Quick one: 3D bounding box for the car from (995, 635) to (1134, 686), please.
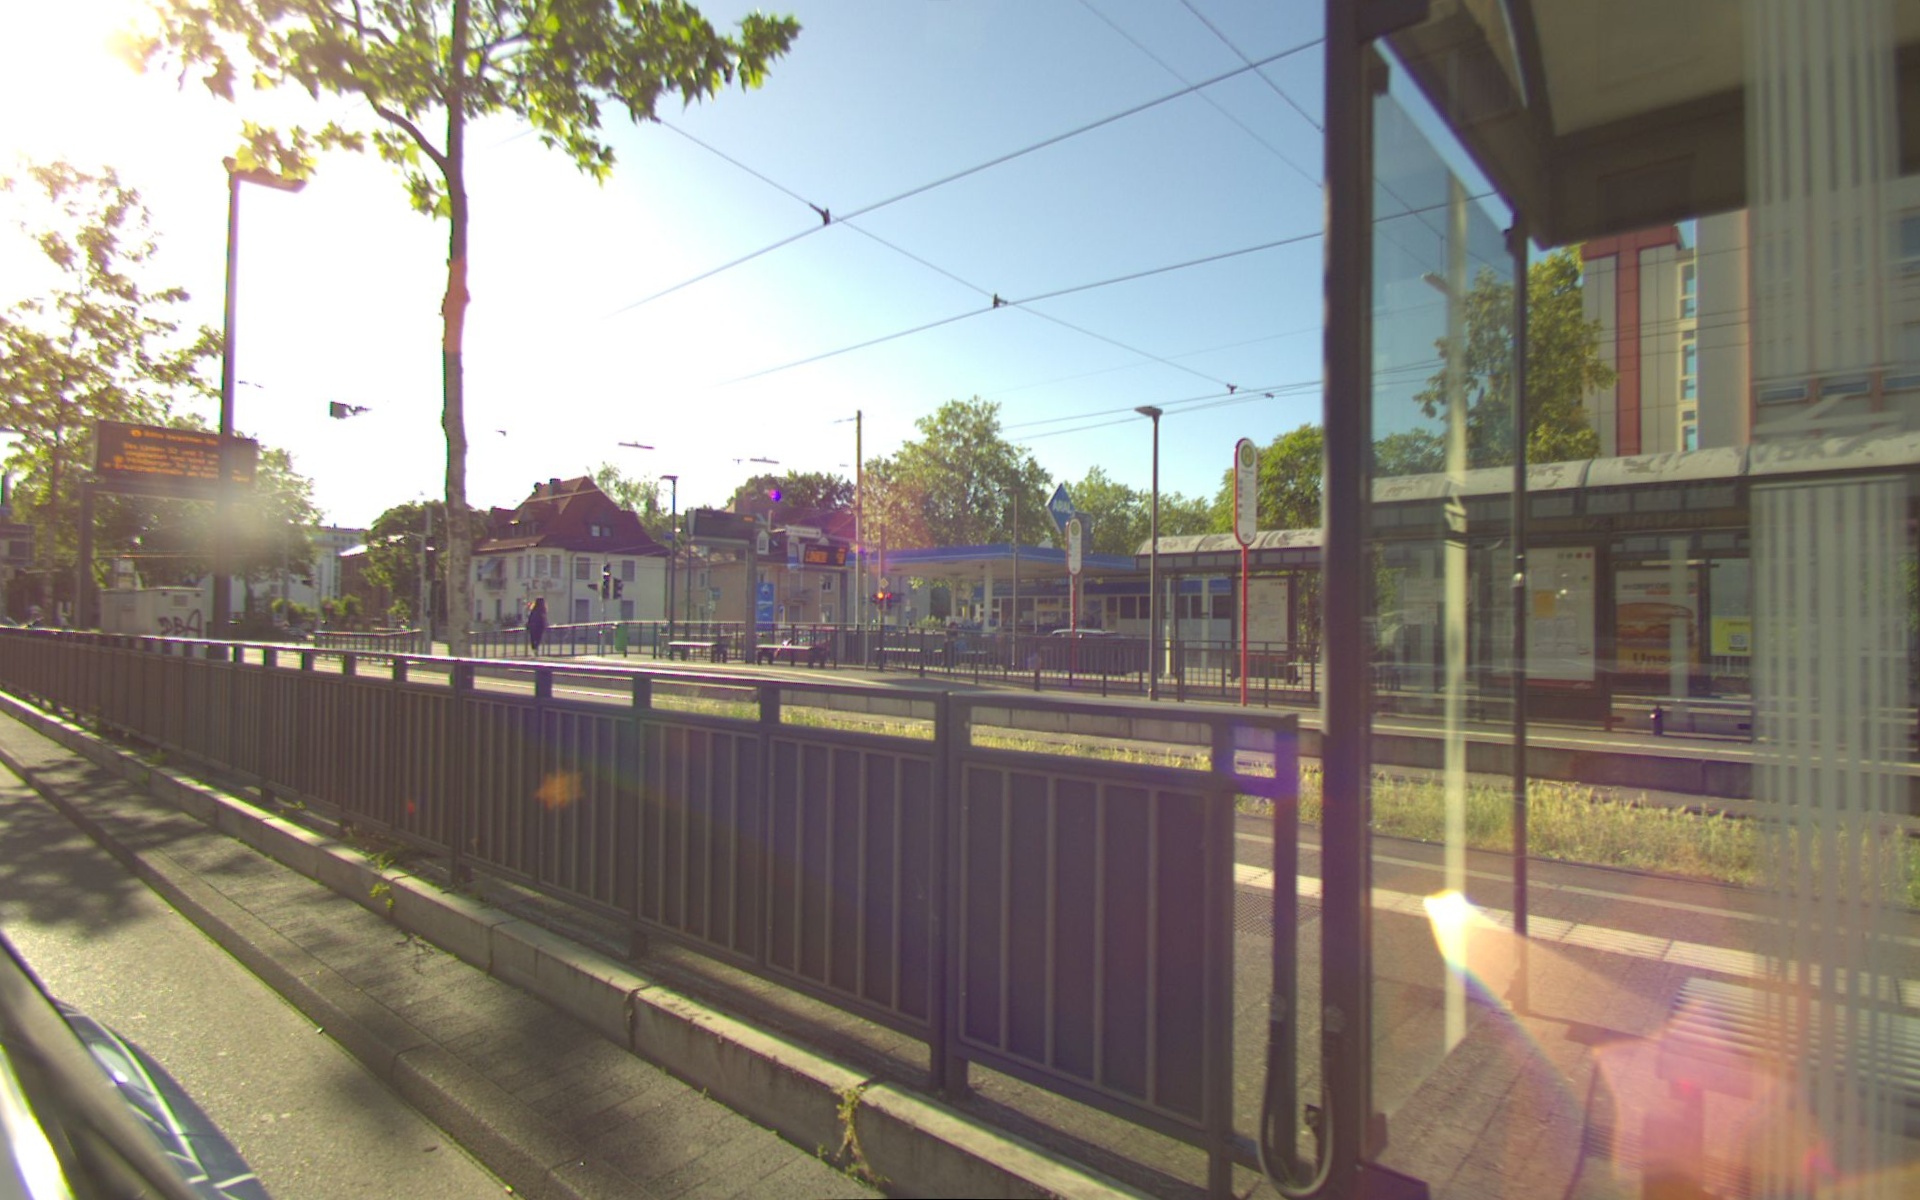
[{"bbox_3d":[3.158,1.799,31.044,4.000,1.431,1.778,-1,-2,43],"label":"car"}]

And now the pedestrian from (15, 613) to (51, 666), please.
[{"bbox_3d":[-30.310,1.294,33.082,1.008,1.703,0.792,-1,-2,44],"label":"pedestrian"}]

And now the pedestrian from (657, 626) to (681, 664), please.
[{"bbox_3d":[-13.154,2.022,45.802,0.824,1.703,0.646,-1,-2,33],"label":"pedestrian"}]

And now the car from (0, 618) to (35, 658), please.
[{"bbox_3d":[-40.043,1.537,40.479,1.975,1.616,4.265,0,-2,5],"label":"car"}]

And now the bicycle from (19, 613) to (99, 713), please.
[{"bbox_3d":[-13.340,0.893,14.959,2.169,1.390,0.632,-1,-2,42],"label":"bicycle"}]

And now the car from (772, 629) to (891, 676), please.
[{"bbox_3d":[-4.285,1.689,33.394,4.000,1.431,1.778,-1,-2,43],"label":"car"}]

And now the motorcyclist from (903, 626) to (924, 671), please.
[{"bbox_3d":[-1.976,2.058,42.932,0.745,1.866,0.544,-1,-2,45],"label":"motorcyclist"}]

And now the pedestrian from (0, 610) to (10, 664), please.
[{"bbox_3d":[-30.565,1.158,31.981,0.776,1.703,0.733,-1,-2,44],"label":"pedestrian"}]

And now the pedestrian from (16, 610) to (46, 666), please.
[{"bbox_3d":[-31.017,1.250,33.789,0.808,1.846,0.642,-1,-2,44],"label":"pedestrian"}]

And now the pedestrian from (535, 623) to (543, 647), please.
[{"bbox_3d":[-31.827,2.633,76.499,0.409,1.756,0.411,-2,-2,41],"label":"pedestrian"}]

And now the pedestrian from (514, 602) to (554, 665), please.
[{"bbox_3d":[-10.952,0.856,25.995,0.735,1.604,0.677,-1,-2,42],"label":"pedestrian"}]

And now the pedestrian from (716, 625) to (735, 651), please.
[{"bbox_3d":[-13.728,2.203,59.153,0.800,1.495,0.758,-1,-2,39],"label":"pedestrian"}]
